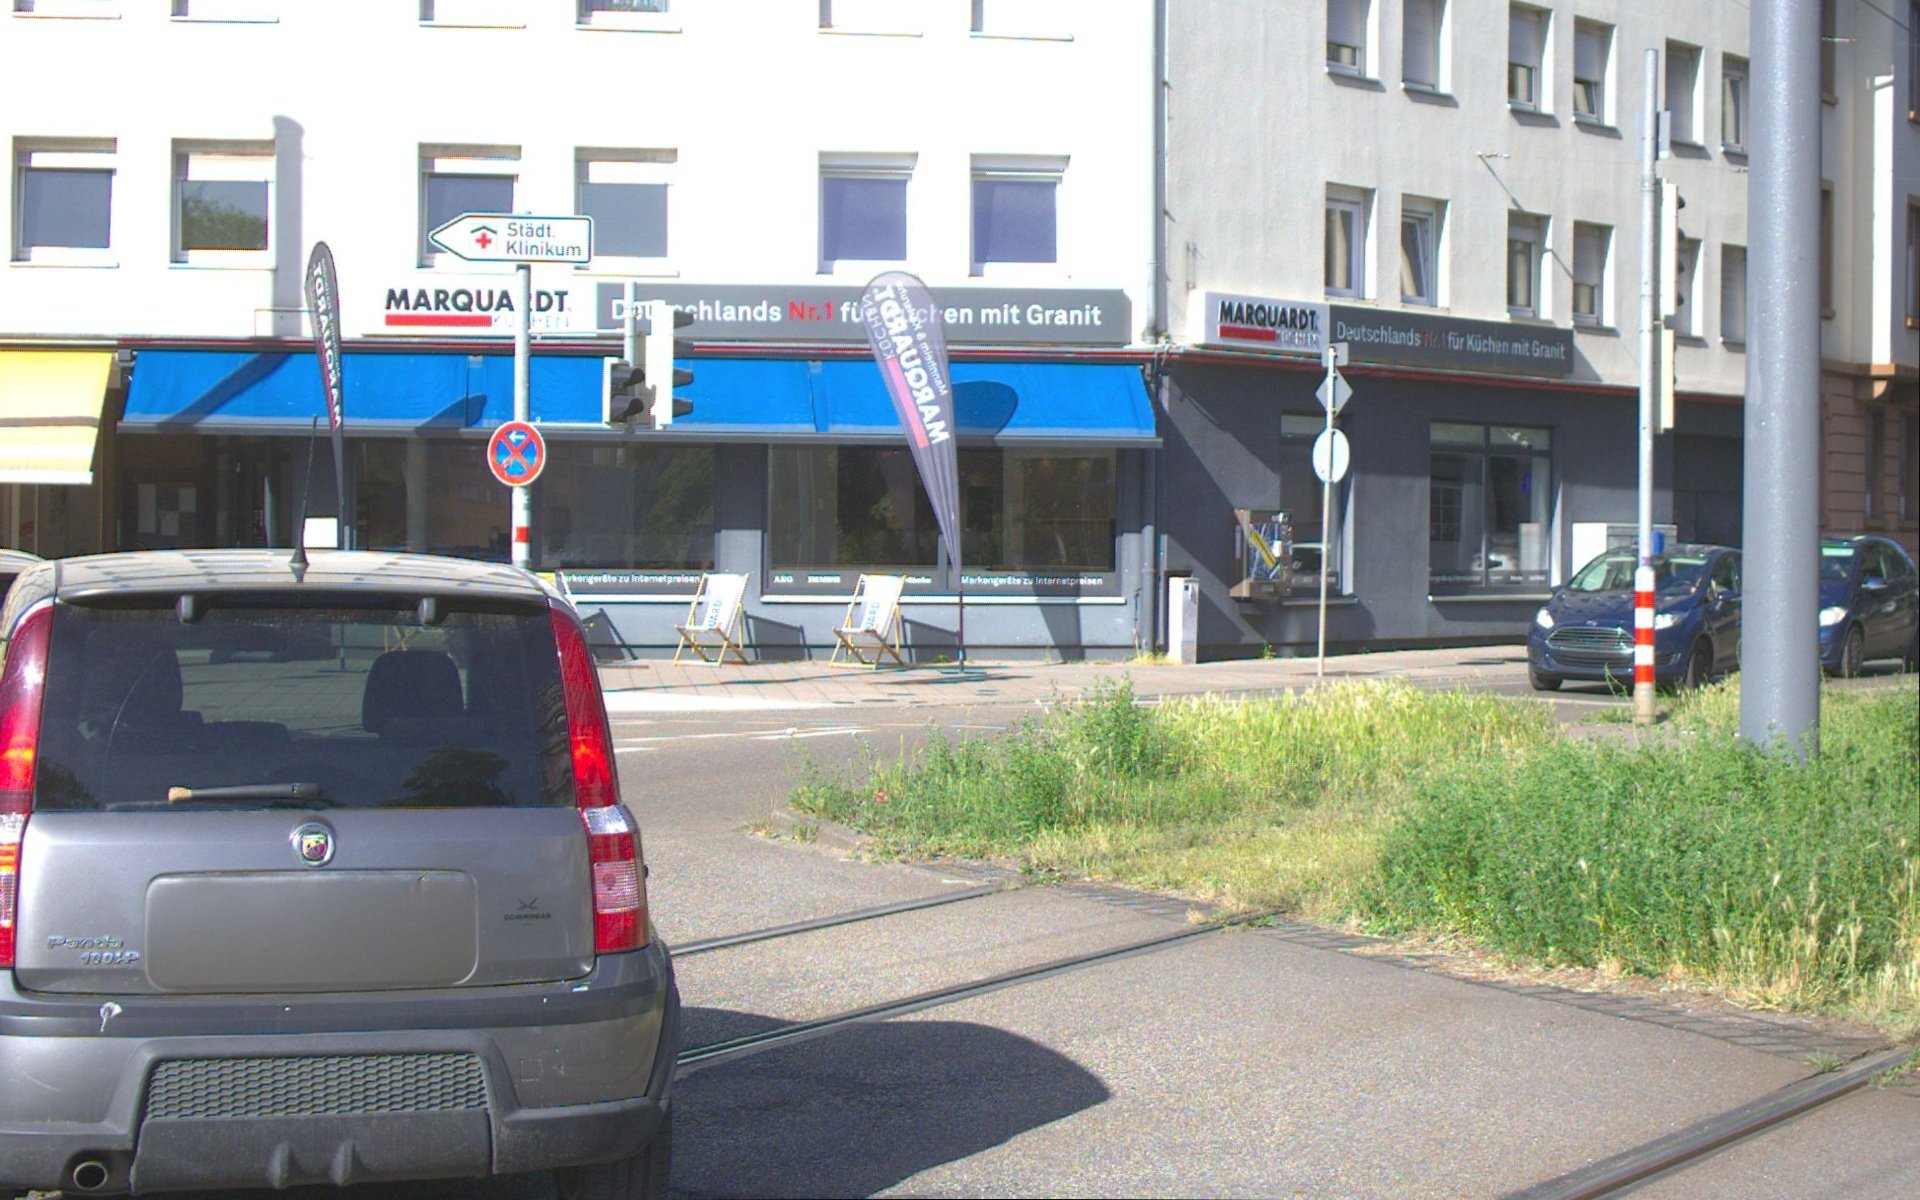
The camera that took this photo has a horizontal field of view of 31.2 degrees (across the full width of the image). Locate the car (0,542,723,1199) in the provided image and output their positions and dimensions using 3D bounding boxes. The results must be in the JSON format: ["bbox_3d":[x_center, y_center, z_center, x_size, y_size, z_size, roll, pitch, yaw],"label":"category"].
[{"bbox_3d":[-1.692,0.624,8.376,1.659,1.505,3.252,0,1,-14],"label":"car"}]

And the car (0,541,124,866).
[{"bbox_3d":[-5.435,0.424,16.617,1.621,1.424,3.688,0,1,-32],"label":"car"}]

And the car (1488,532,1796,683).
[{"bbox_3d":[6.787,0.035,33.943,1.793,1.391,3.718,1,1,31],"label":"car"}]

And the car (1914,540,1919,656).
[{"bbox_3d":[13.888,-0.033,44.988,1.793,1.477,3.525,1,1,31],"label":"car"}]

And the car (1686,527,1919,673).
[{"bbox_3d":[9.753,-0.036,38.989,1.793,1.560,3.759,1,1,31],"label":"car"}]
